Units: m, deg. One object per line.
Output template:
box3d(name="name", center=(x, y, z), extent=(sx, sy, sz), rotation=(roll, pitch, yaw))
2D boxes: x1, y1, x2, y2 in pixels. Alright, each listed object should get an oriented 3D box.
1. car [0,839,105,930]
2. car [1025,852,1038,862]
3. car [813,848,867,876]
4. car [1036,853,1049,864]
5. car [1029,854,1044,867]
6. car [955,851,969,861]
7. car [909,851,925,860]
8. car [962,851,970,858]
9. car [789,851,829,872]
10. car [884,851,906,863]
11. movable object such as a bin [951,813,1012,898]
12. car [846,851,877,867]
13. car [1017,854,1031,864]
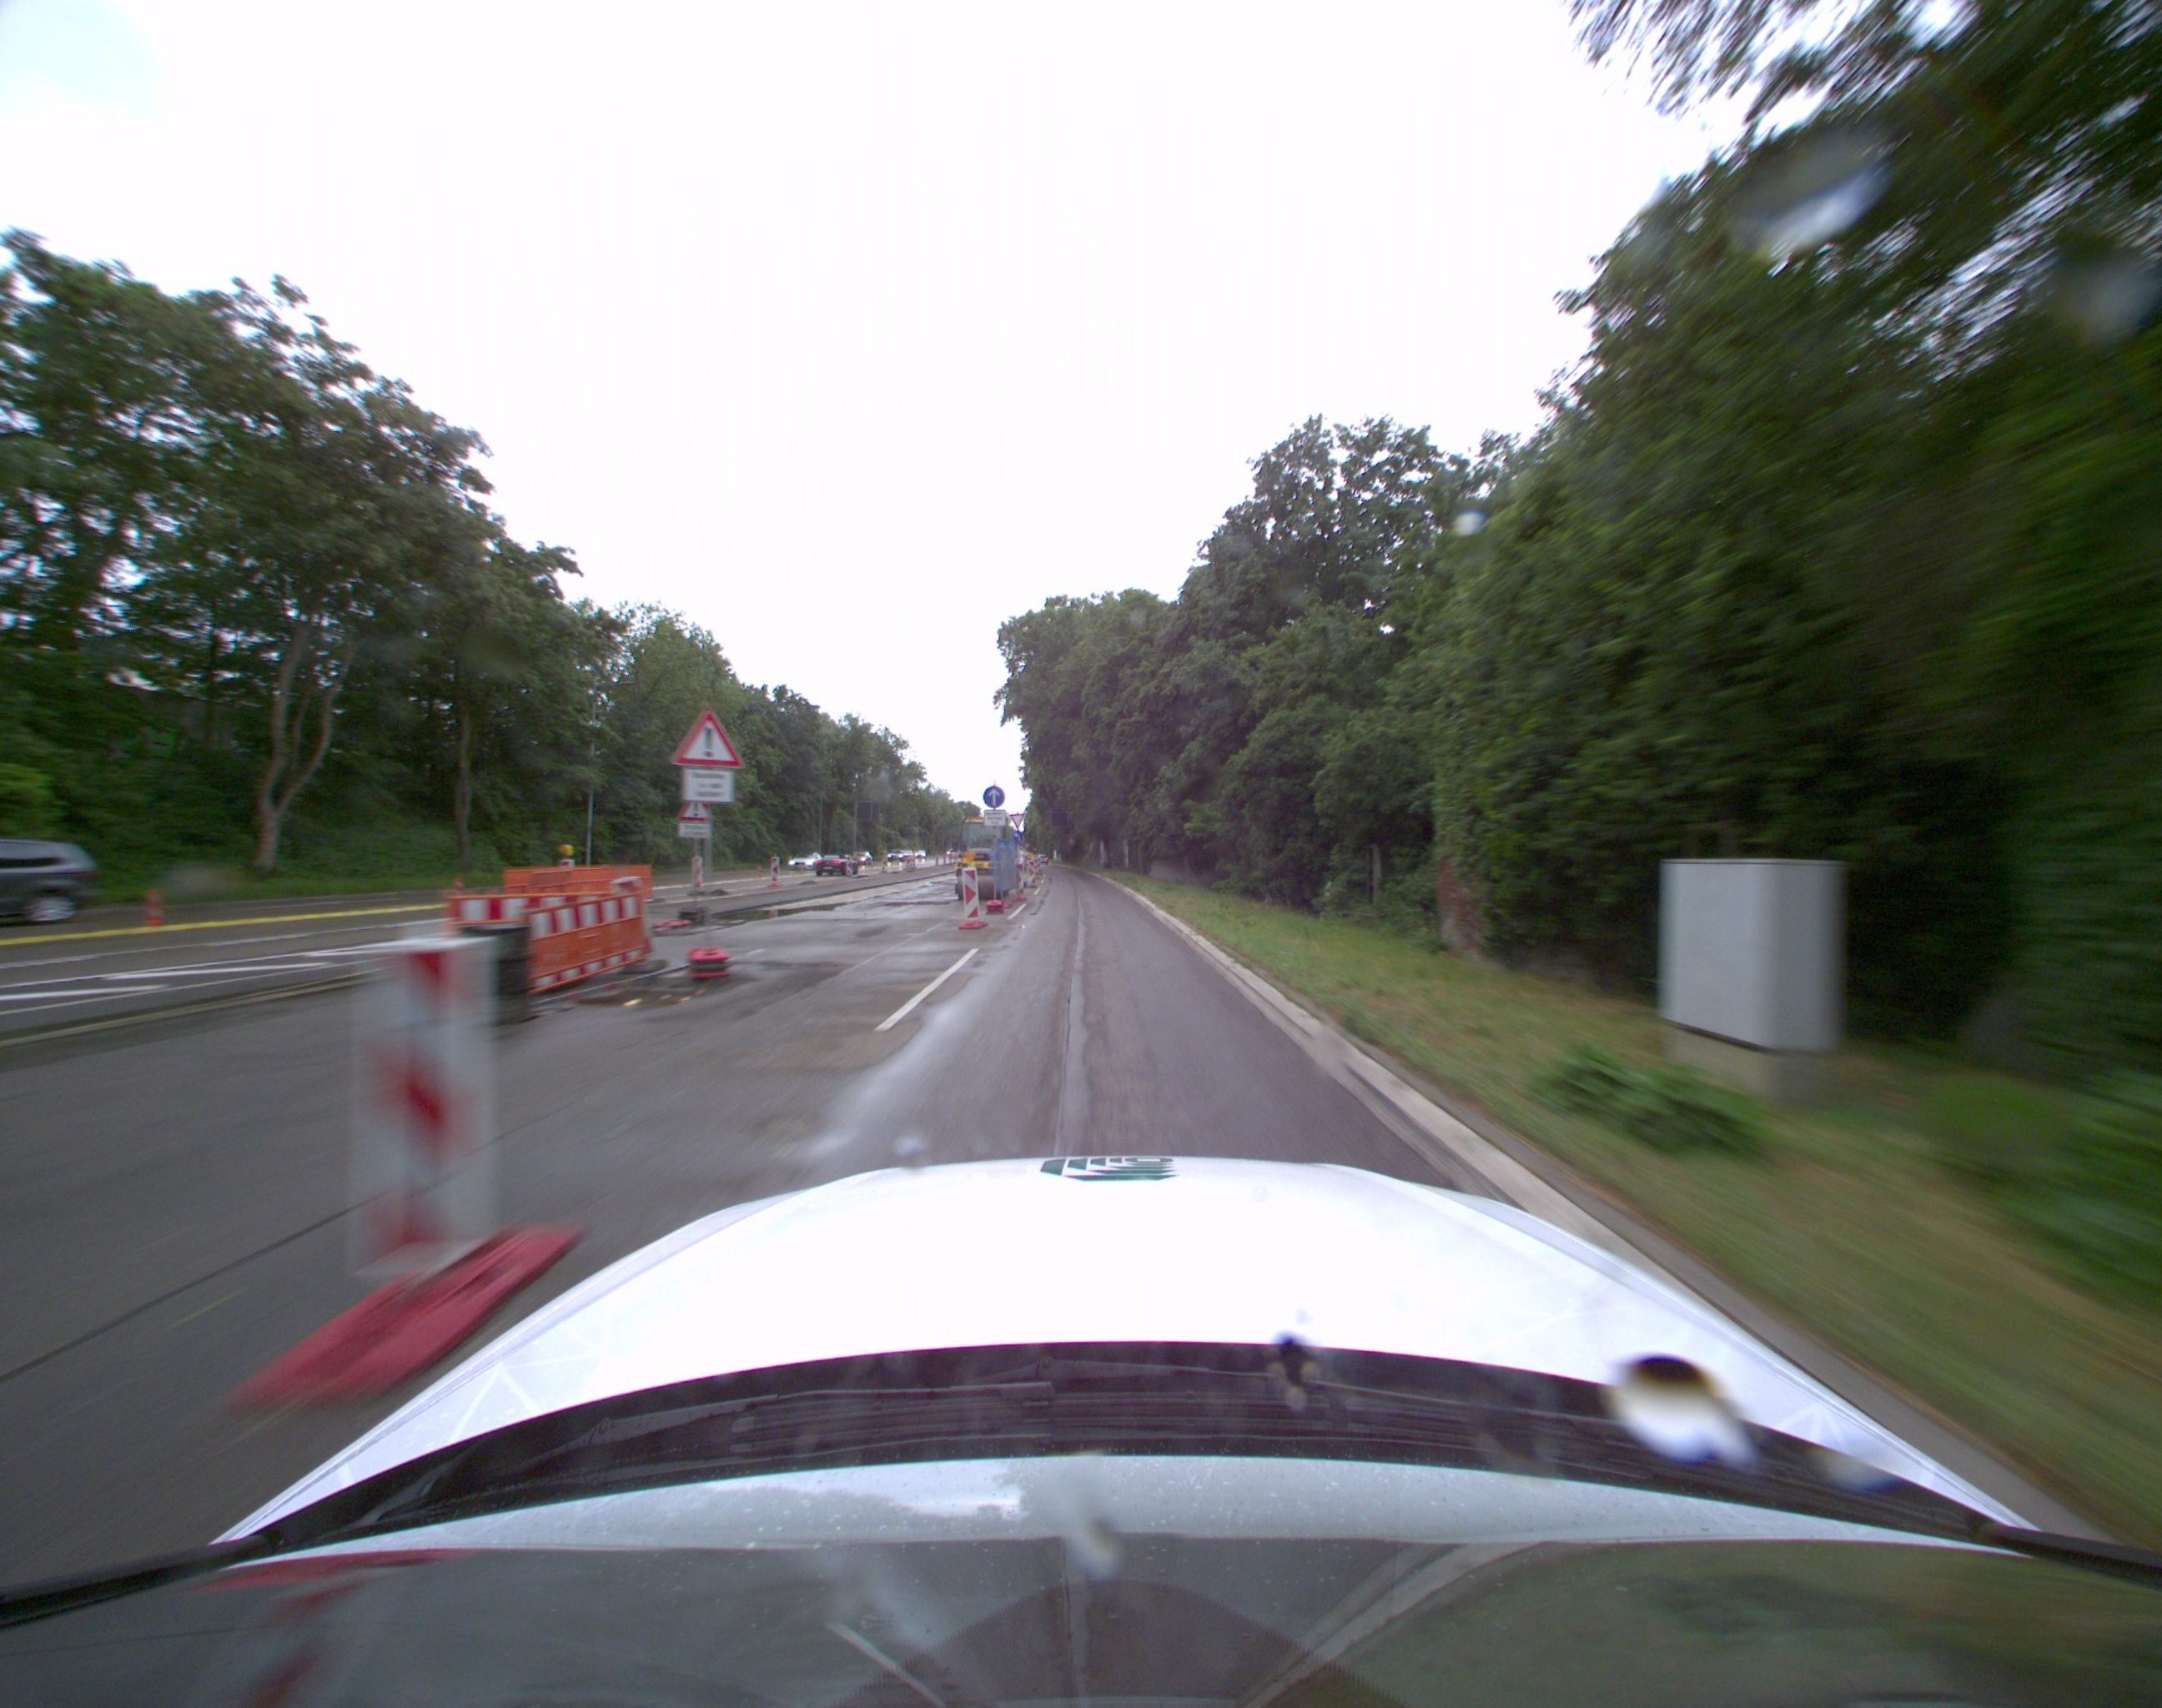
box3d(name="car", center=(-20.841, 0.560, 14.218), extent=(1.920, 1.665, 4.654), rotation=(0, 0, 2))
box3d(name="car", center=(-7.032, 0.400, 115.370), extent=(1.753, 1.344, 3.995), rotation=(2, 1, -4))
box3d(name="car", center=(-15.263, 0.494, 51.725), extent=(1.853, 1.491, 4.008), rotation=(2, 2, 6))
box3d(name="car", center=(-6.084, 0.631, 127.996), extent=(1.910, 1.598, 4.828), rotation=(1, 1, -3))
box3d(name="car", center=(-5.311, 0.735, 97.654), extent=(1.753, 1.344, 3.995), rotation=(2, 1, -4))
box3d(name="car", center=(-22.757, 0.336, 156.318), extent=(1.920, 1.778, 4.654), rotation=(0, 0, 2))
box3d(name="car", center=(-30.902, 0.308, 153.386), extent=(1.920, 1.665, 4.654), rotation=(0, 0, 2))
box3d(name="car", center=(-25.633, 0.084, 181.240), extent=(1.566, 1.457, 3.366), rotation=(3, 1, -12))
box3d(name="car", center=(-21.766, 0.595, 65.290), extent=(1.712, 1.601, 4.002), rotation=(-1, 0, 2))
box3d(name="car", center=(-25.947, 0.363, 113.851), extent=(1.920, 1.665, 4.654), rotation=(0, 0, 2))
box3d(name="movable object such as a bin", center=(-3.544, 0.052, 29.508), extent=(1.741, 2.867, 3.534), rotation=(0, 0, 0))
box3d(name="car", center=(-23.480, 0.468, 87.140), extent=(1.920, 1.665, 4.654), rotation=(0, 0, 2))
box3d(name="car", center=(-9.616, 0.806, 136.587), extent=(1.868, 1.618, 4.002), rotation=(3, 1, 2))
